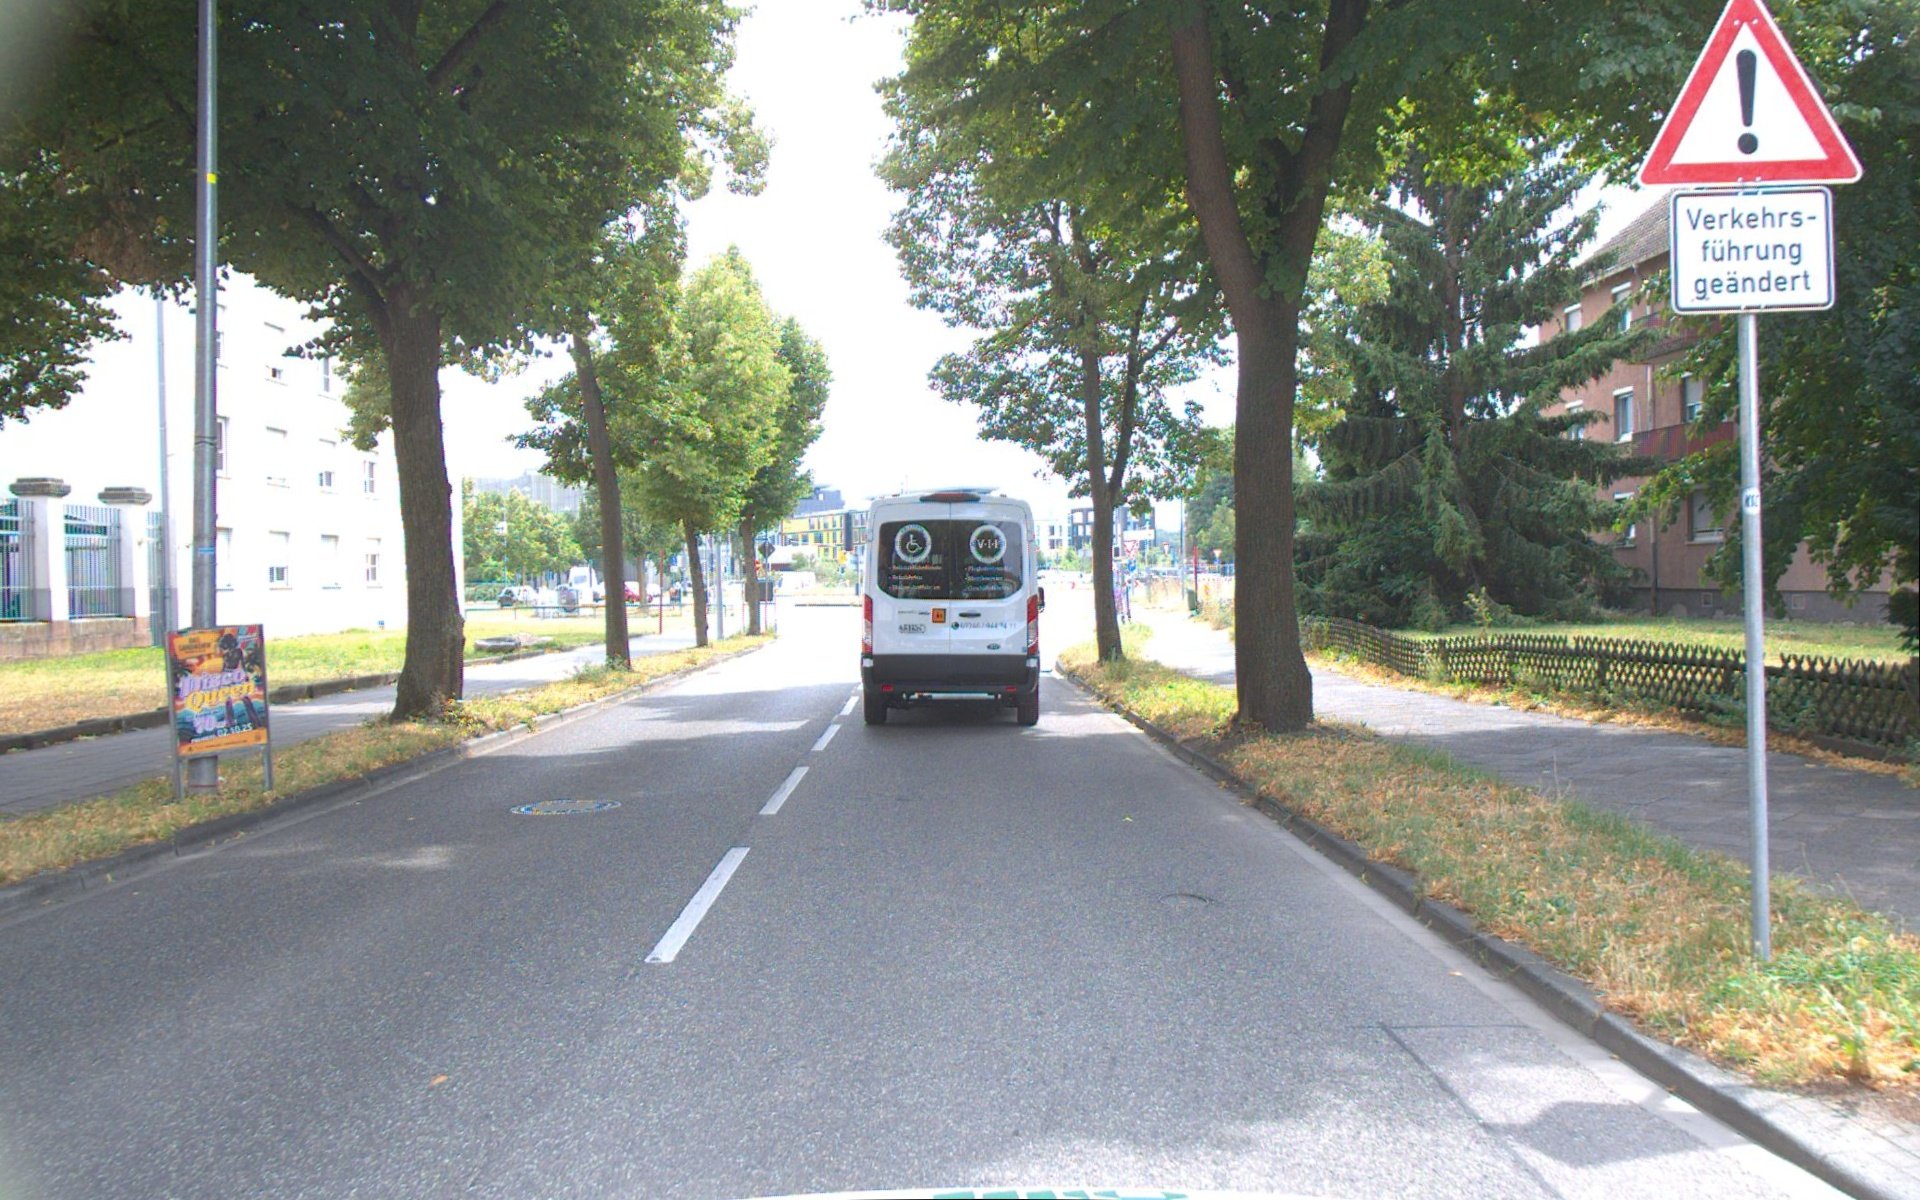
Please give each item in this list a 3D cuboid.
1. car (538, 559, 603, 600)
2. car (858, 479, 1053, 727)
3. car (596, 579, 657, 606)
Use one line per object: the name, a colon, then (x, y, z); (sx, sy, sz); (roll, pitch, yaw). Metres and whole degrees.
car: (-29.886, -1.561, 126.912); (2.594, 2.900, 5.595); (-4, 1, -39)
car: (-0.119, 0.006, 19.439); (2.021, 2.584, 3.999); (1, 1, -2)
car: (-23.642, -0.541, 117.185); (3.913, 1.690, 1.887); (-3, 1, 30)
